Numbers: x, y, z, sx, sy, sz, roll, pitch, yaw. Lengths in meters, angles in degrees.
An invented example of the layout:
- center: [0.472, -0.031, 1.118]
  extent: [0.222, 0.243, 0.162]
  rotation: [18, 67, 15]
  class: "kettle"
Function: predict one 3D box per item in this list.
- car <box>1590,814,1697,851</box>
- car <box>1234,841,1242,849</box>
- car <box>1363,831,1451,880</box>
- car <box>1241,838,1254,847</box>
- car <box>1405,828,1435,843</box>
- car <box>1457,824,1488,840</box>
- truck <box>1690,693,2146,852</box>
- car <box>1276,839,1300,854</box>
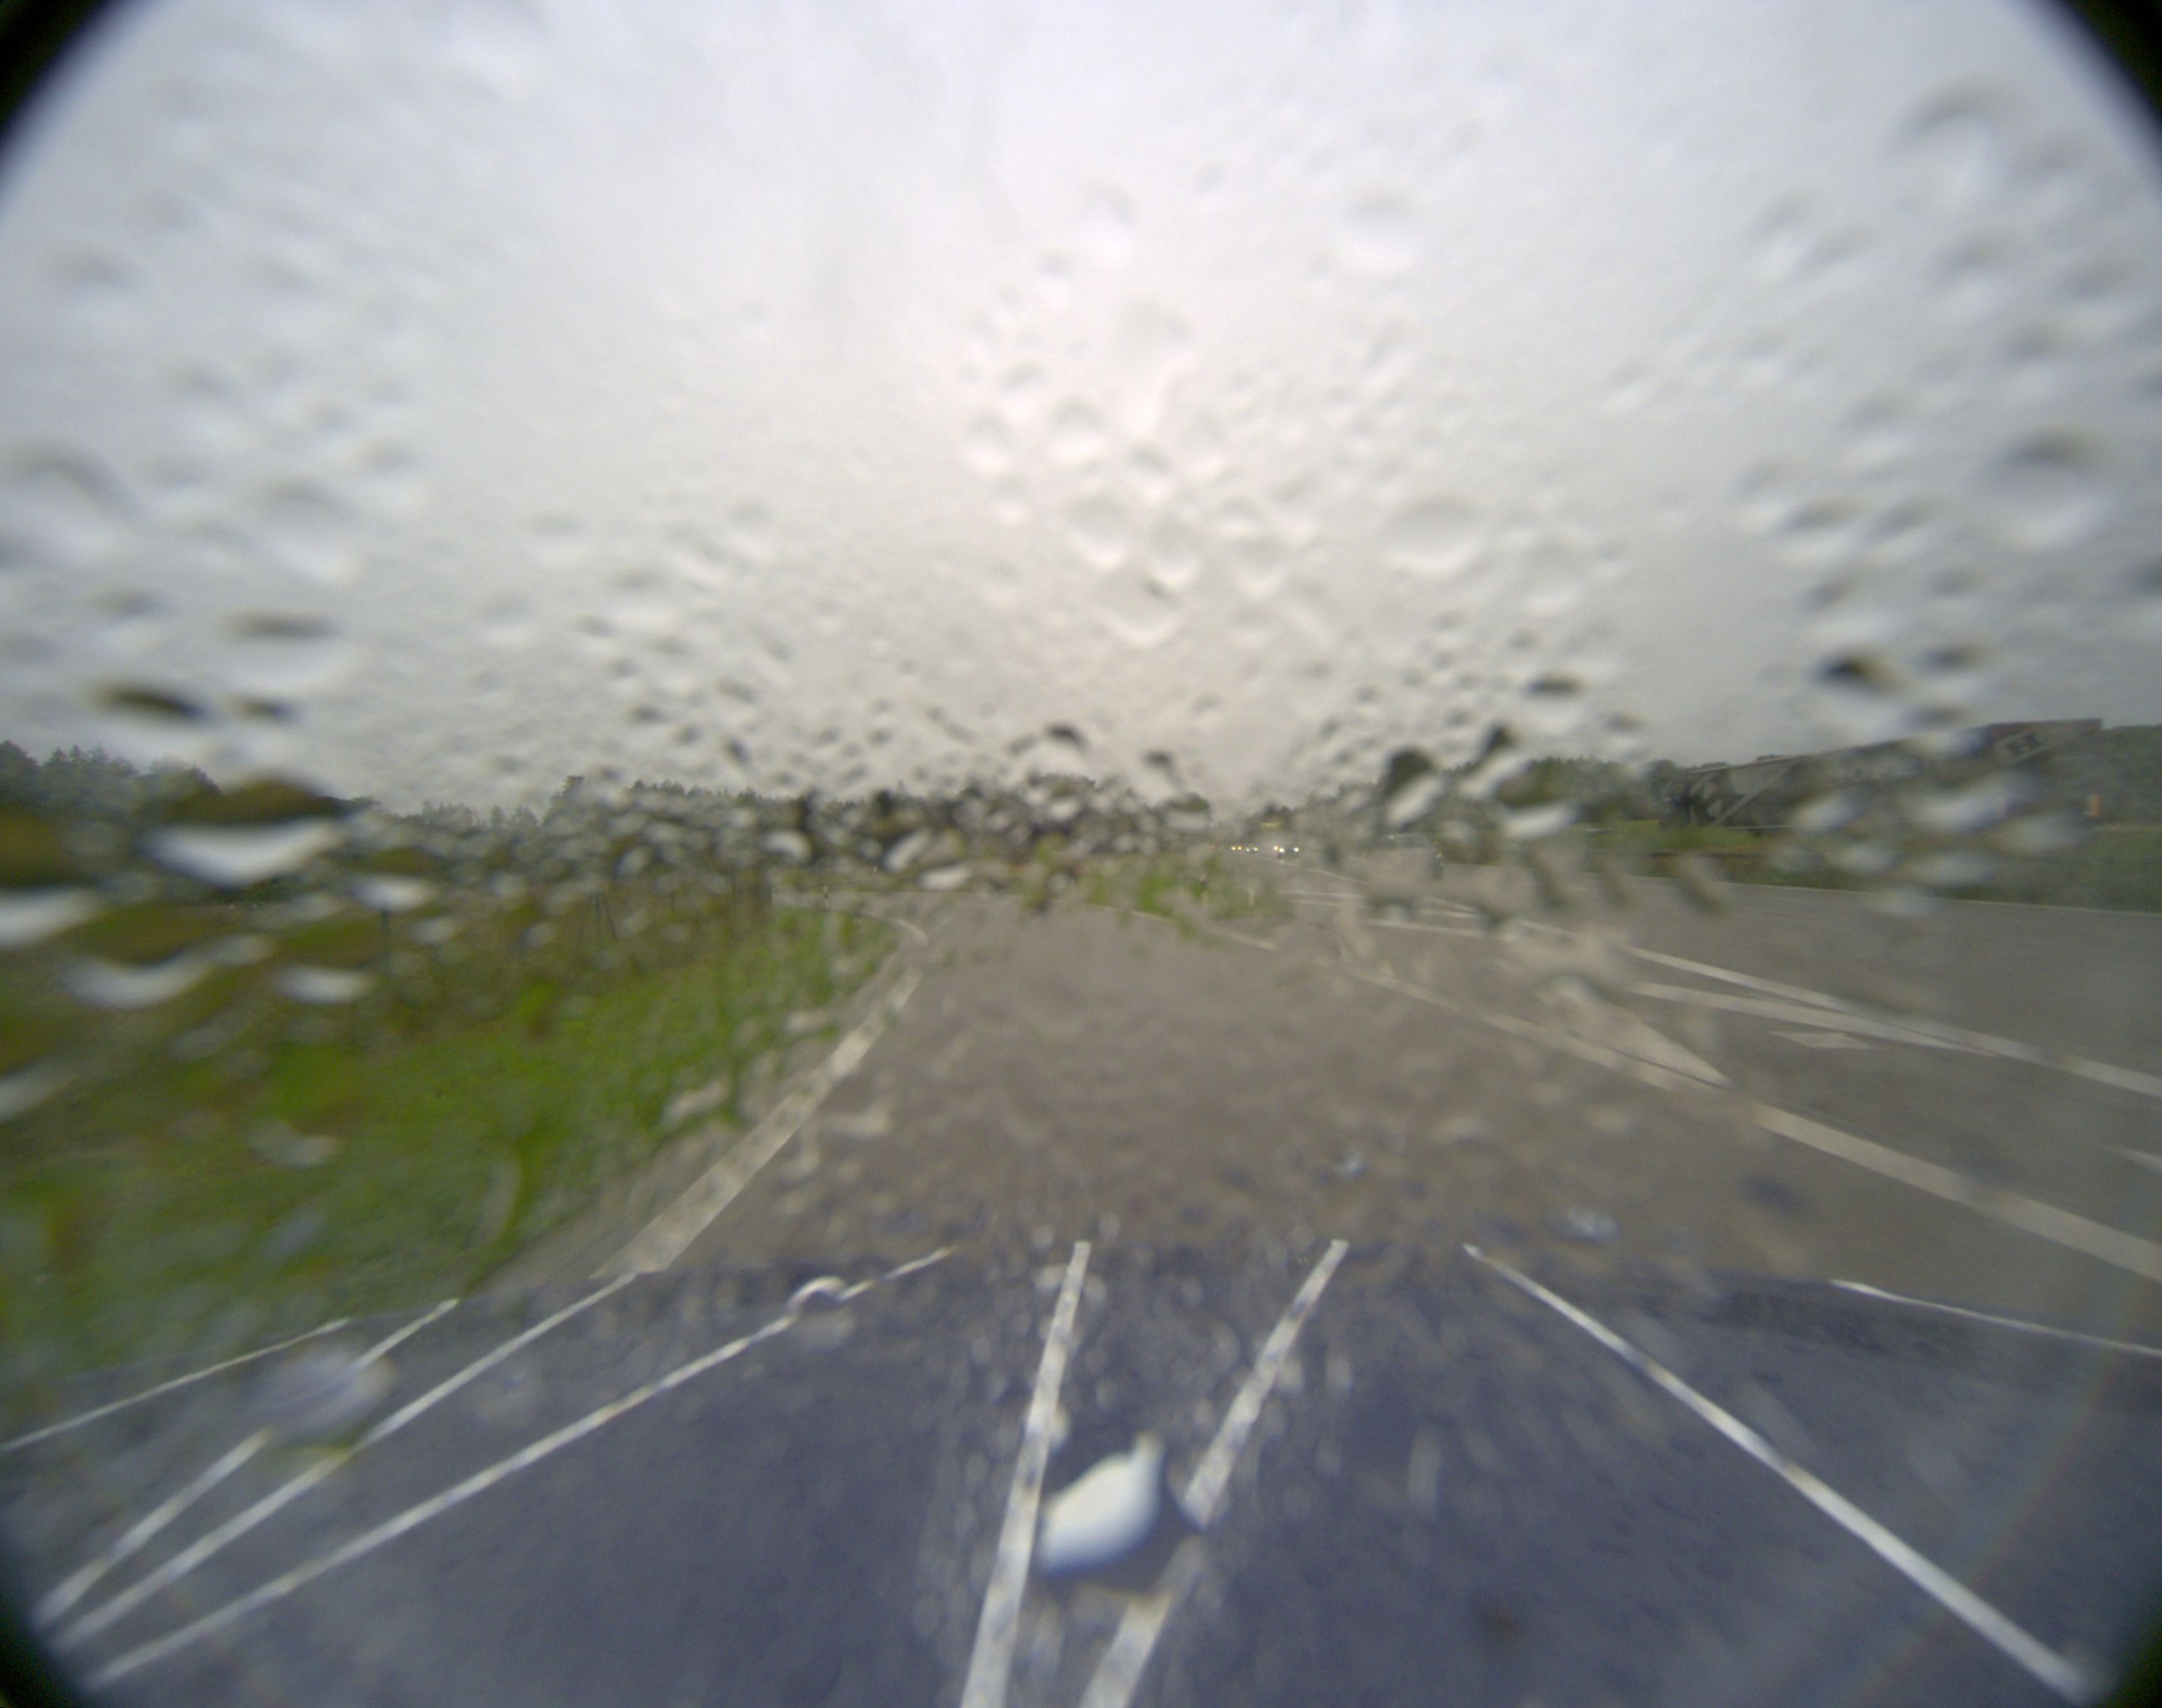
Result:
- center: [25.354, -0.937, 34.480]
  extent: [2.108, 1.426, 4.534]
  rotation: [-4, 1, 11]
  class: "car"
- center: [41.579, -2.300, 201.267]
  extent: [1.996, 2.001, 4.646]
  rotation: [0, -1, 14]
  class: "car"
- center: [12.326, 0.004, 29.065]
  extent: [1.865, 1.625, 5.104]
  rotation: [-3, 1, 9]
  class: "car"
- center: [29.756, -2.069, 136.190]
  extent: [2.149, 1.627, 4.598]
  rotation: [-2, 1, 11]
  class: "car"
- center: [38.742, -2.099, 86.935]
  extent: [2.108, 1.530, 4.534]
  rotation: [-4, 1, 11]
  class: "car"
- center: [44.875, -2.508, 87.160]
  extent: [1.733, 1.726, 4.002]
  rotation: [-4, 0, 7]
  class: "car"
- center: [27.739, -2.293, 27.116]
  extent: [3.200, 3.943, 13.822]
  rotation: [-5, 0, 11]
  class: "truck"
- center: [21.392, -0.819, 78.673]
  extent: [2.097, 1.445, 4.598]
  rotation: [-2, 1, 11]
  class: "car"
